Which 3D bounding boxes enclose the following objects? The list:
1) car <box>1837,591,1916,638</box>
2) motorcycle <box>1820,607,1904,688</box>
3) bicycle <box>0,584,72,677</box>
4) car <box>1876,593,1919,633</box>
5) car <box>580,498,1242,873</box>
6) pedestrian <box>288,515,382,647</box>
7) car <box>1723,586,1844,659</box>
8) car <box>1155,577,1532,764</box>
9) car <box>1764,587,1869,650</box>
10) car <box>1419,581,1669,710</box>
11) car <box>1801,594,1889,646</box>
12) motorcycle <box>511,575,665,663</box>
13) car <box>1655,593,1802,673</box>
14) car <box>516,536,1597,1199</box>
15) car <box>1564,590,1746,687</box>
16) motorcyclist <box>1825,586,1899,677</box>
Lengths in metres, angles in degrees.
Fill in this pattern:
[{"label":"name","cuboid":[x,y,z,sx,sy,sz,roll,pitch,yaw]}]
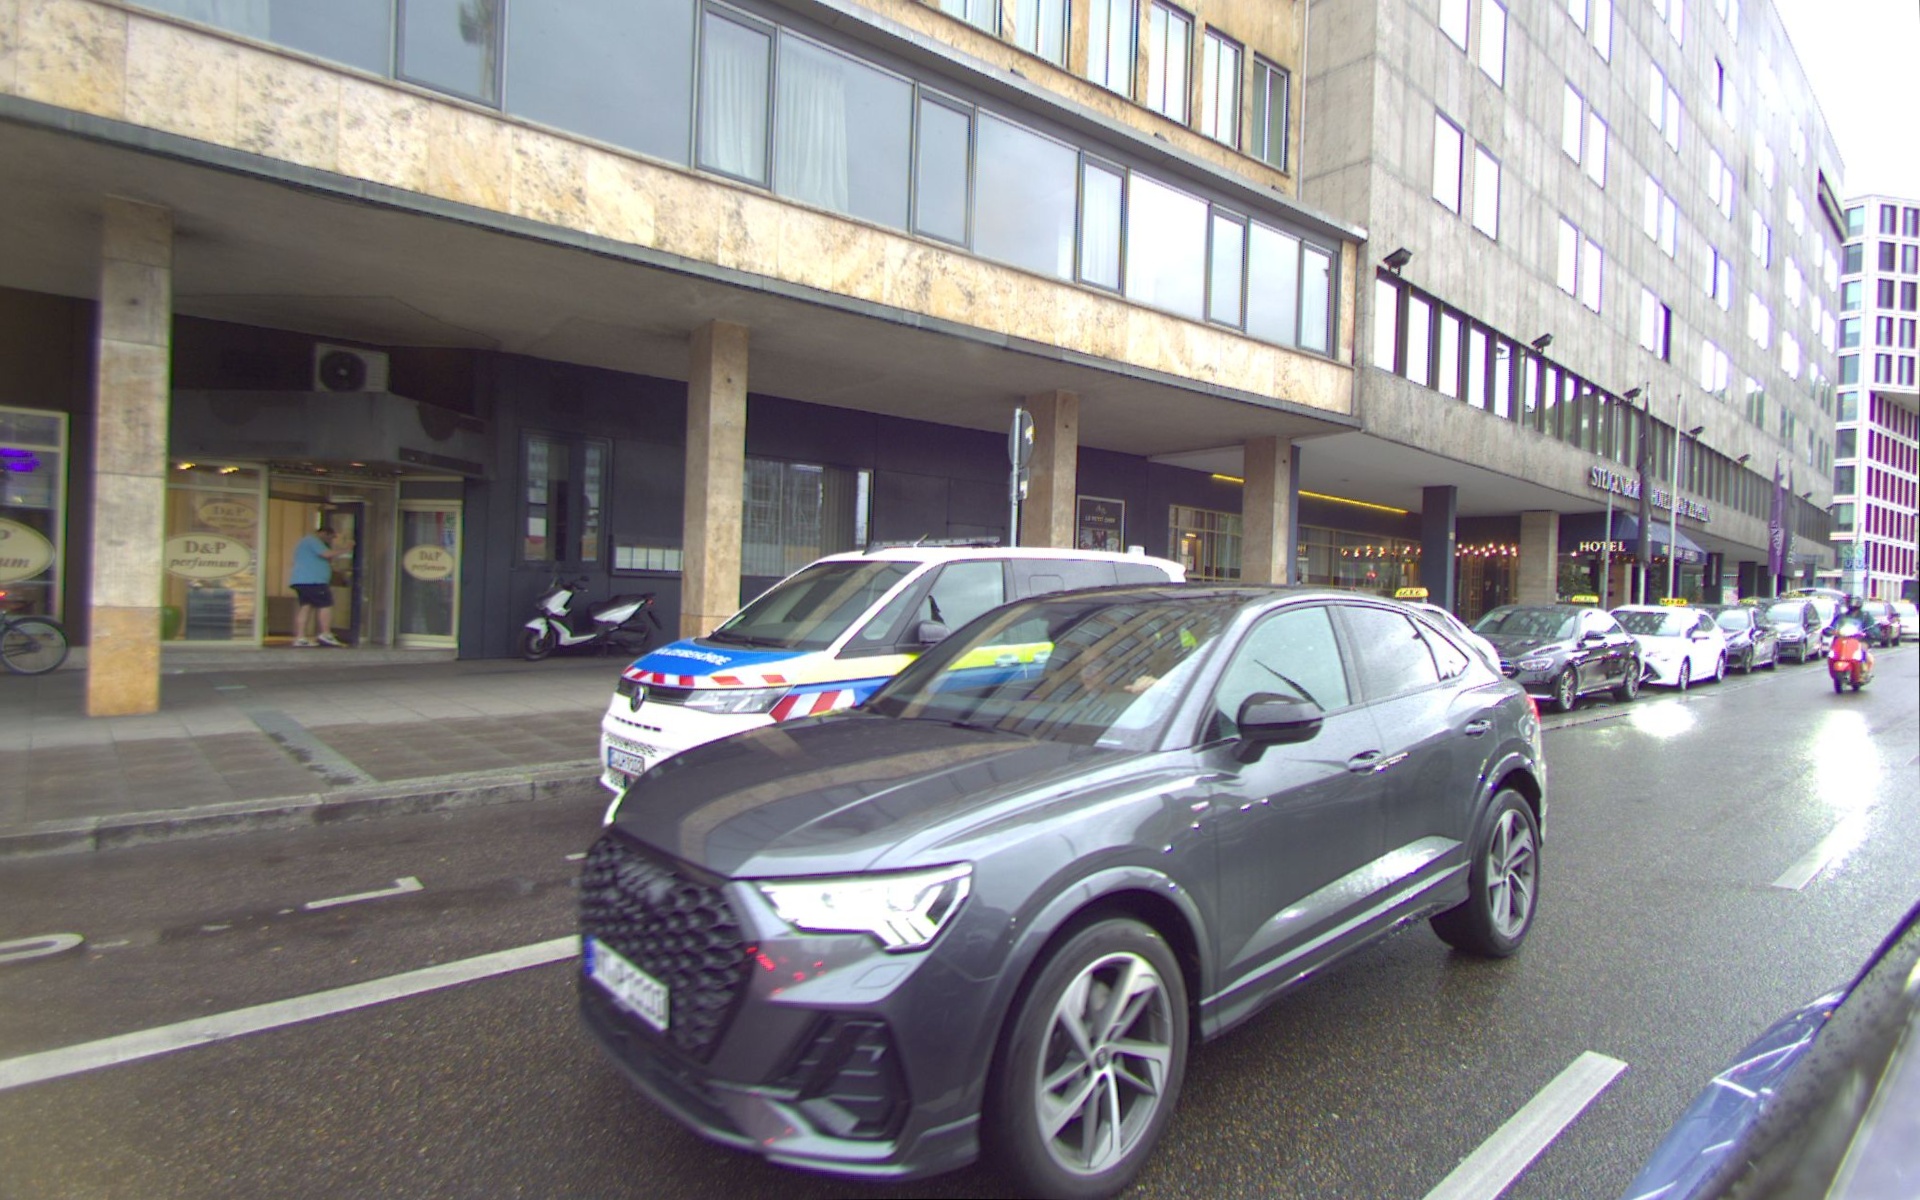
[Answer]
[{"label":"car","cuboid":[33.679,0.476,37.150,3.932,1.634,1.729,0,0,-41]},{"label":"motorcycle","cuboid":[15.865,0.792,17.785,1.931,1.323,0.848,0,0,-41]},{"label":"bicycle","cuboid":[-11.637,0.352,11.412,2.428,1.059,0.657,0,0,-41]},{"label":"car","cuboid":[41.217,0.539,43.936,3.932,1.634,1.729,0,0,-41]},{"label":"car","cuboid":[-0.077,0.423,7.563,4.850,1.944,1.877,0,0,-41]},{"label":"pedestrian","cuboid":[-8.977,-0.268,14.540,1.114,1.813,0.801,0,0,-33]},{"label":"car","cuboid":[21.925,0.534,26.882,4.731,1.764,1.729,0,0,-41]},{"label":"car","cuboid":[4.463,0.608,11.322,4.924,1.658,1.877,0,0,-41]},{"label":"car","cuboid":[25.709,0.498,30.315,4.731,1.764,1.729,0,0,-41]},{"label":"car","cuboid":[8.933,0.566,15.295,4.731,1.658,1.877,0,0,-41]},{"label":"car","cuboid":[29.716,0.613,33.951,3.932,1.634,1.729,0,0,-41]},{"label":"motorcycle","cuboid":[-5.479,0.257,14.960,2.063,1.233,0.569,0,0,-33]},{"label":"car","cuboid":[17.405,0.653,22.834,4.731,1.612,1.729,0,0,-41]},{"label":"car","cuboid":[0.739,0.621,4.040,4.266,1.520,1.882,0,0,-40]},{"label":"car","cuboid":[13.148,0.615,19.023,4.731,1.612,1.729,0,0,-41]},{"label":"motorcyclist","cuboid":[15.841,0.533,17.780,0.829,1.547,0.860,0,0,-40]}]
